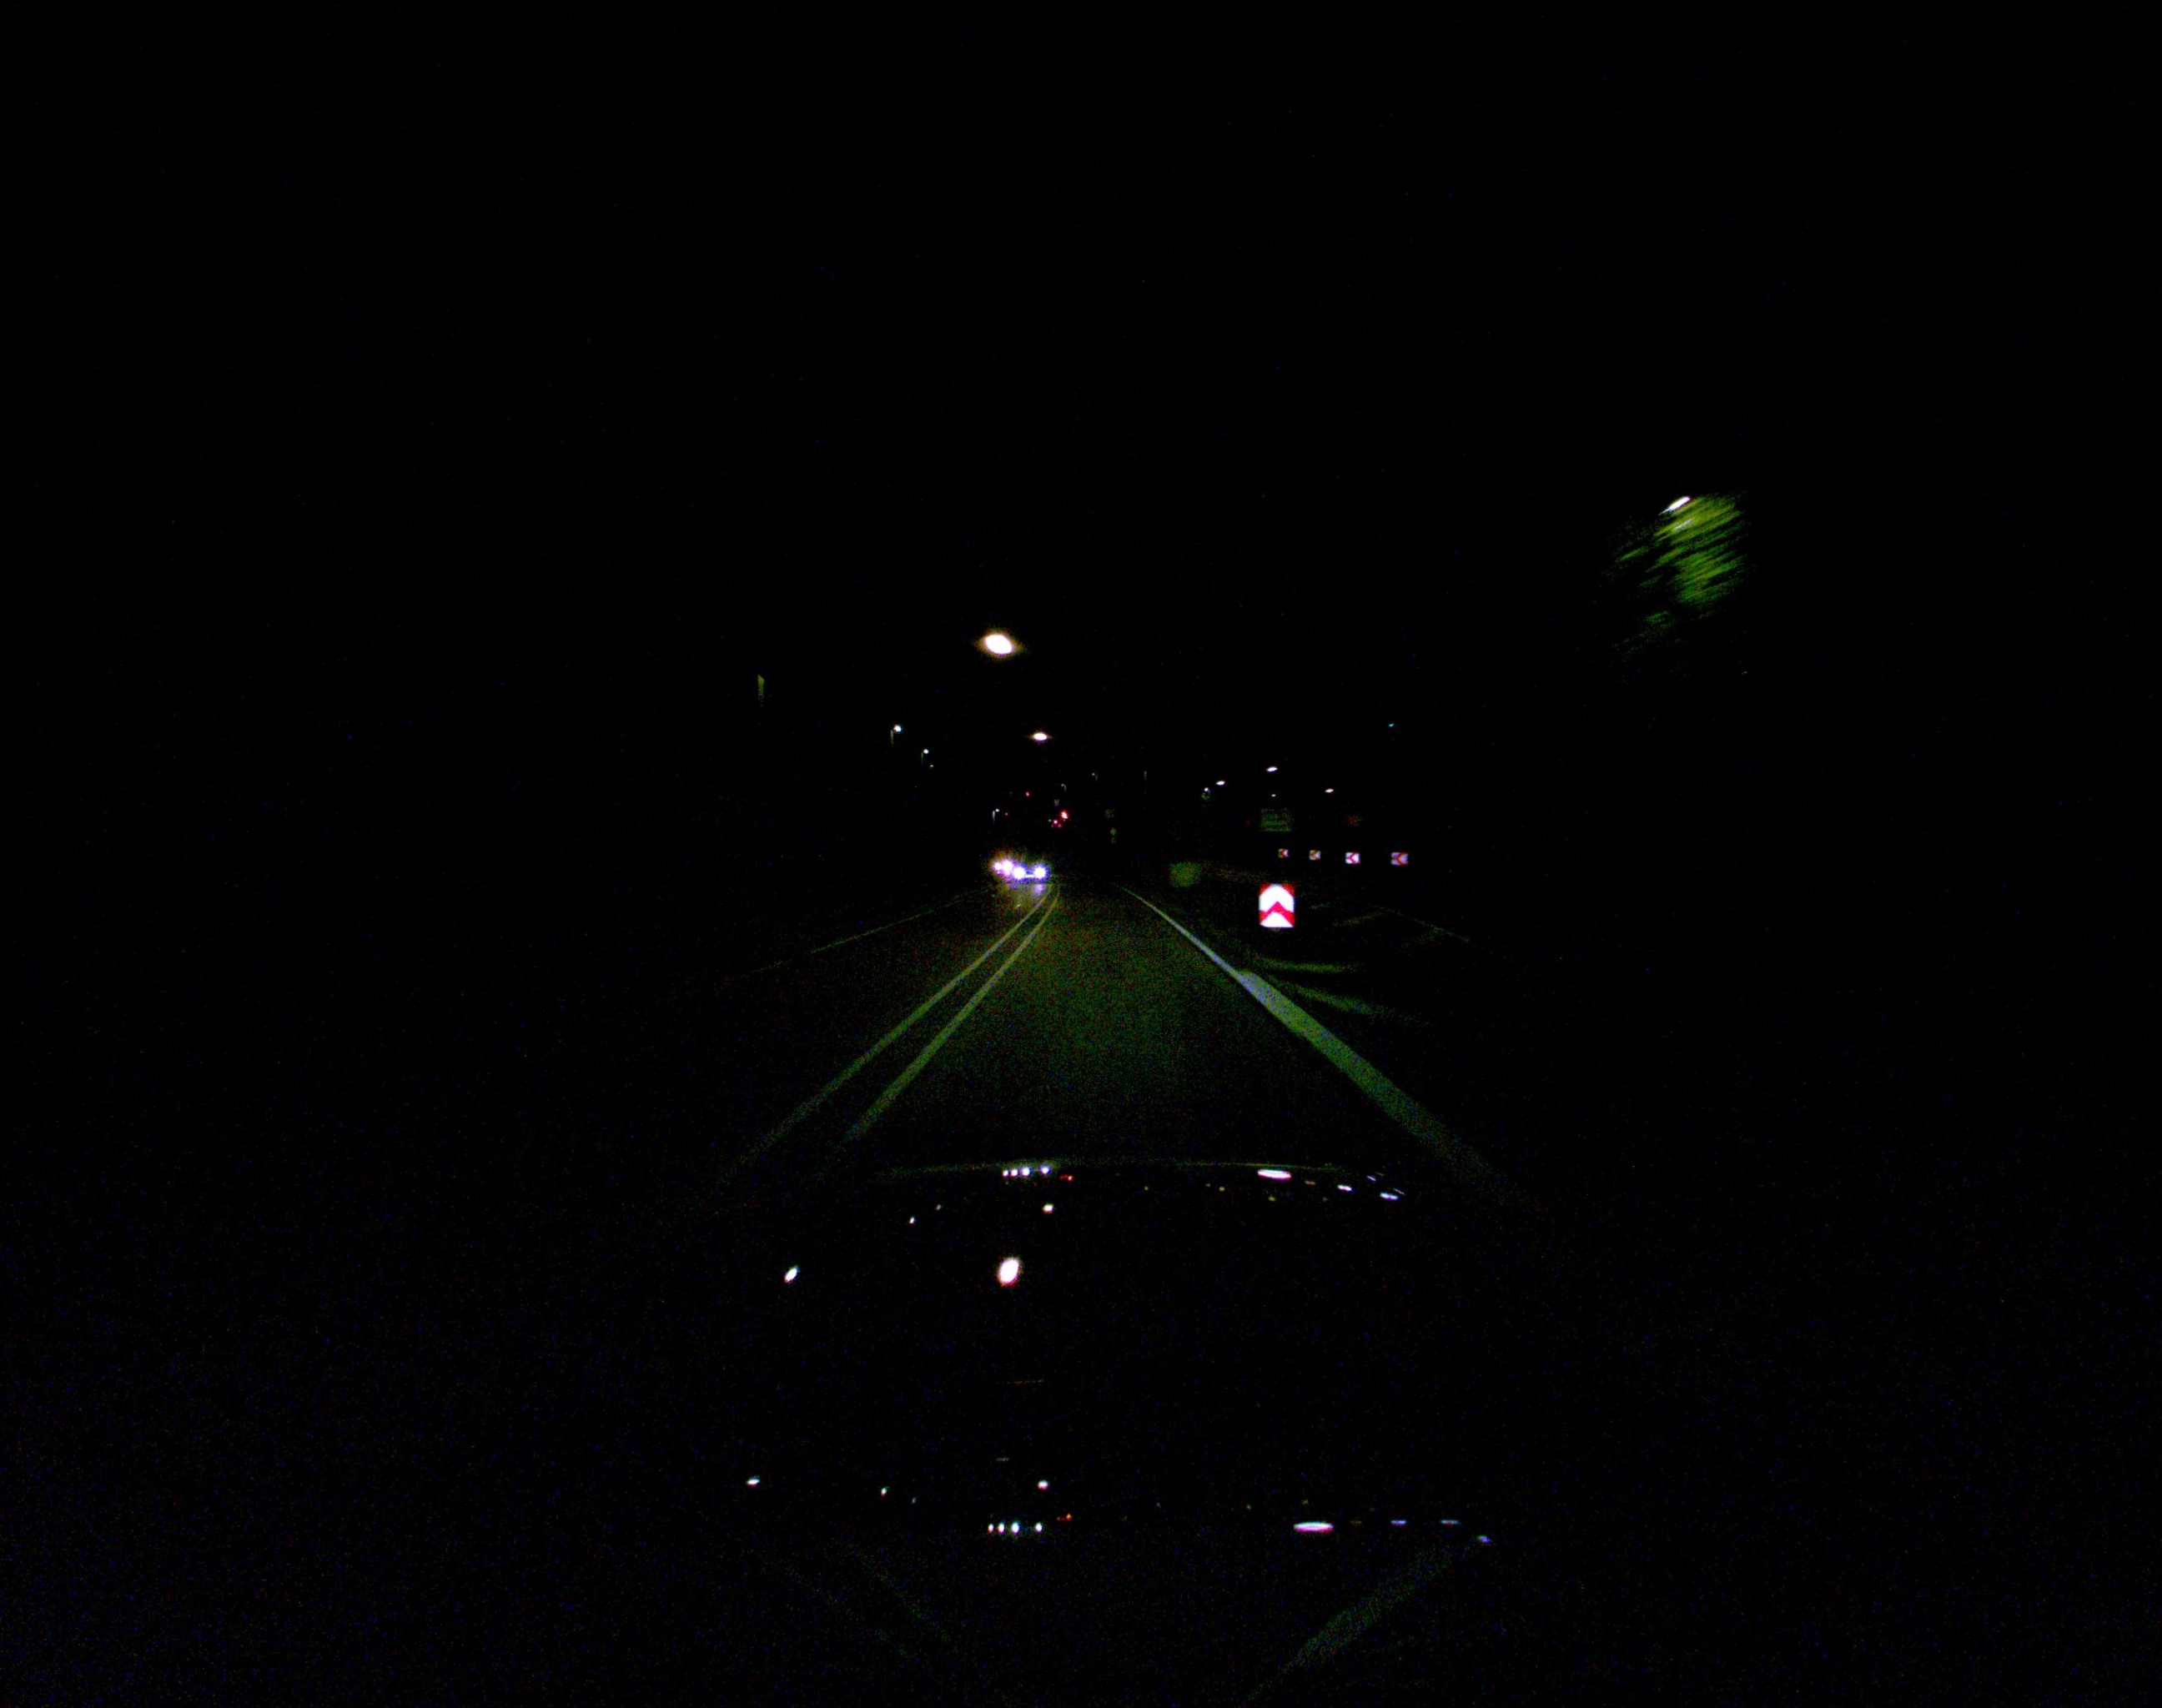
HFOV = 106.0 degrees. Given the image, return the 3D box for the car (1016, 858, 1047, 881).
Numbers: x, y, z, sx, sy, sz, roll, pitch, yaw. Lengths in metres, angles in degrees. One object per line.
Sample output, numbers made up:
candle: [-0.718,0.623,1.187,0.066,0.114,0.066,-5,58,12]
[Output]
car: [-3.218,1.033,53.169,1.782,1.447,4.170,0,-1,0]

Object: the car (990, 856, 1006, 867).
car: [-11.474,1.027,112.394,1.858,1.510,3.987,-2,-1,-9]
